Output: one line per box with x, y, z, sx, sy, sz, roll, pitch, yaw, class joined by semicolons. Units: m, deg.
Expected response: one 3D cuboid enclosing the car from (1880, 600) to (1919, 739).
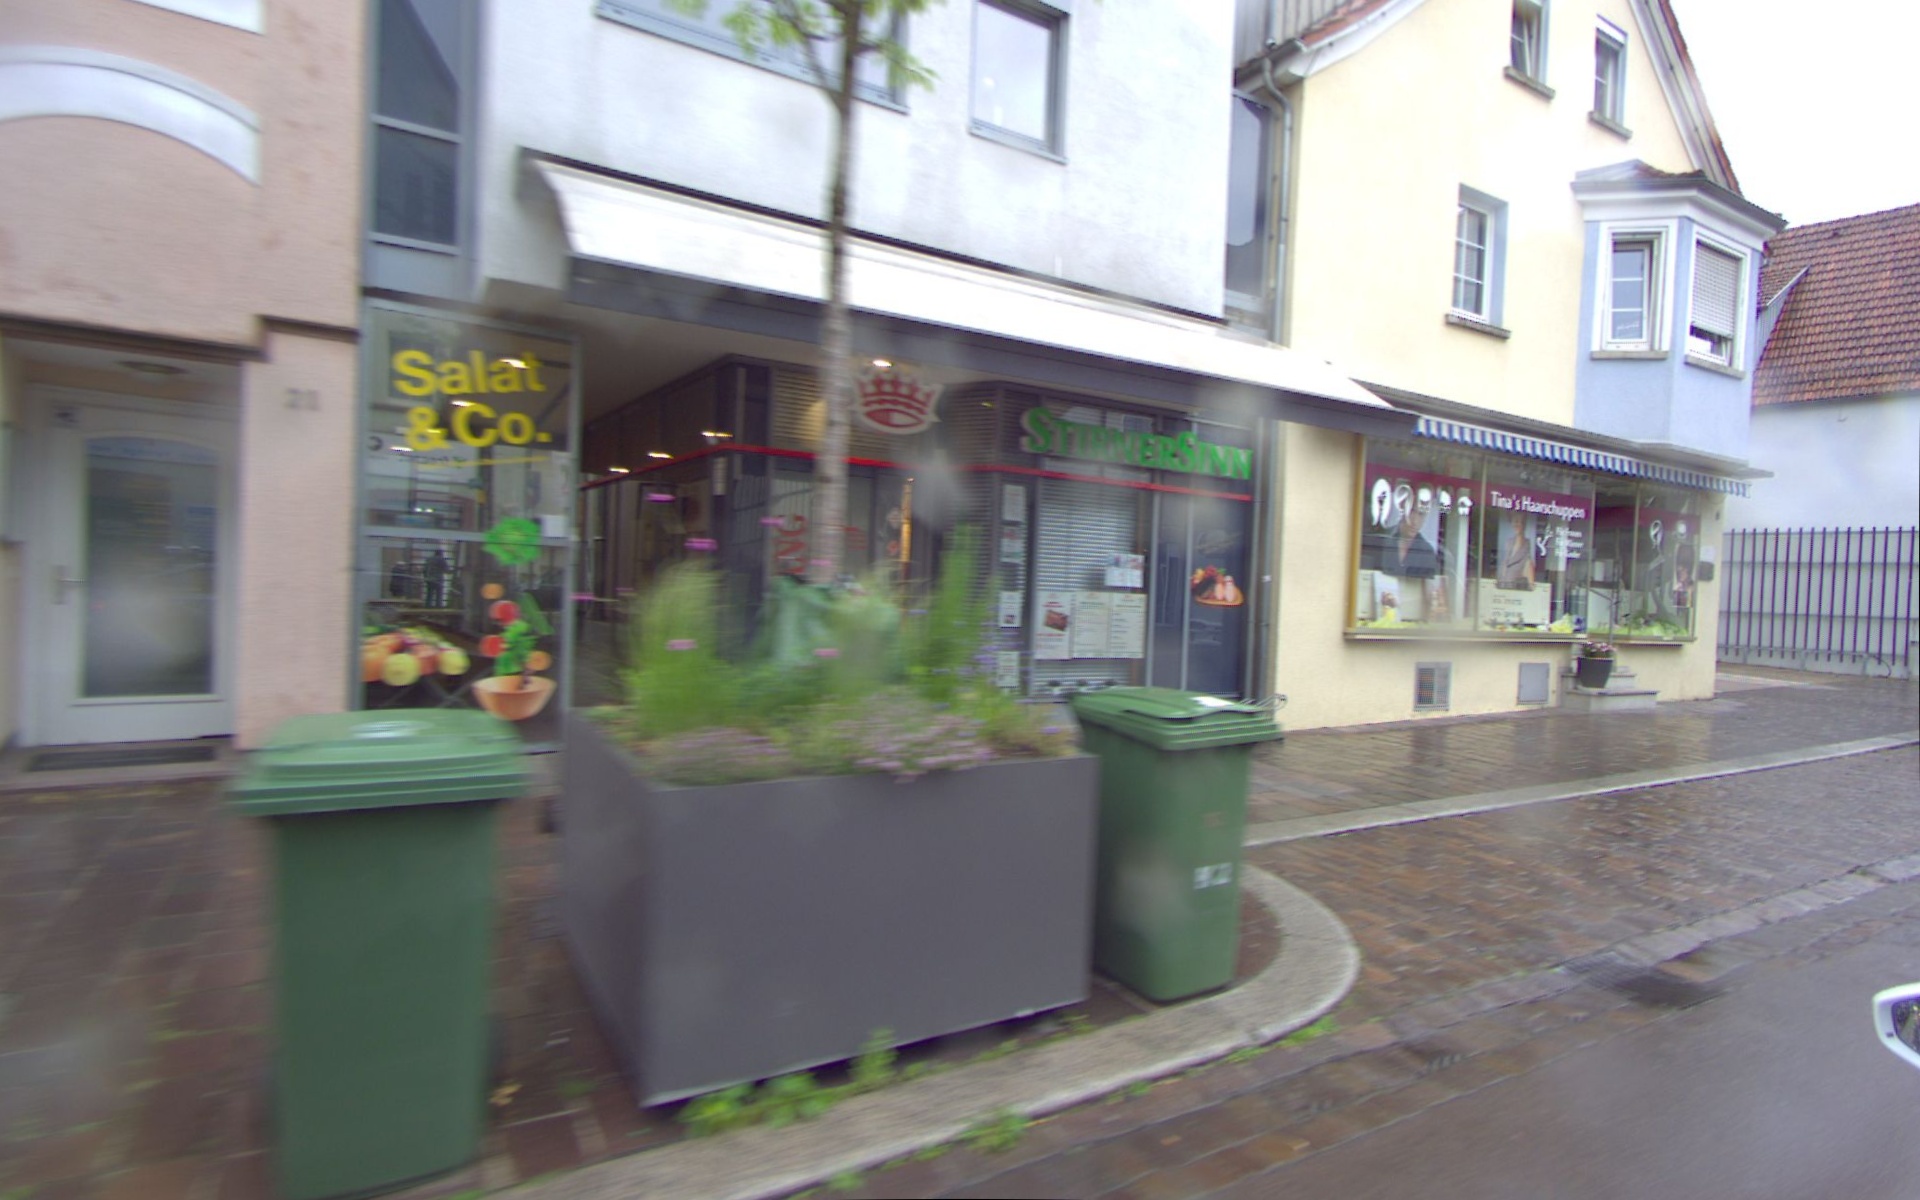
12.379;0.819;11.461;3.961;1.491;1.980;1;2;-36;car

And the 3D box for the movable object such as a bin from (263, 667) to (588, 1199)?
-1.382;0.764;2.556;0.604;1.121;0.809;2;0;-34;movable object such as a bin

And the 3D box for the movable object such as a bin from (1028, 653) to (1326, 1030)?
0.775;0.804;3.718;0.604;1.121;0.809;2;3;-34;movable object such as a bin
